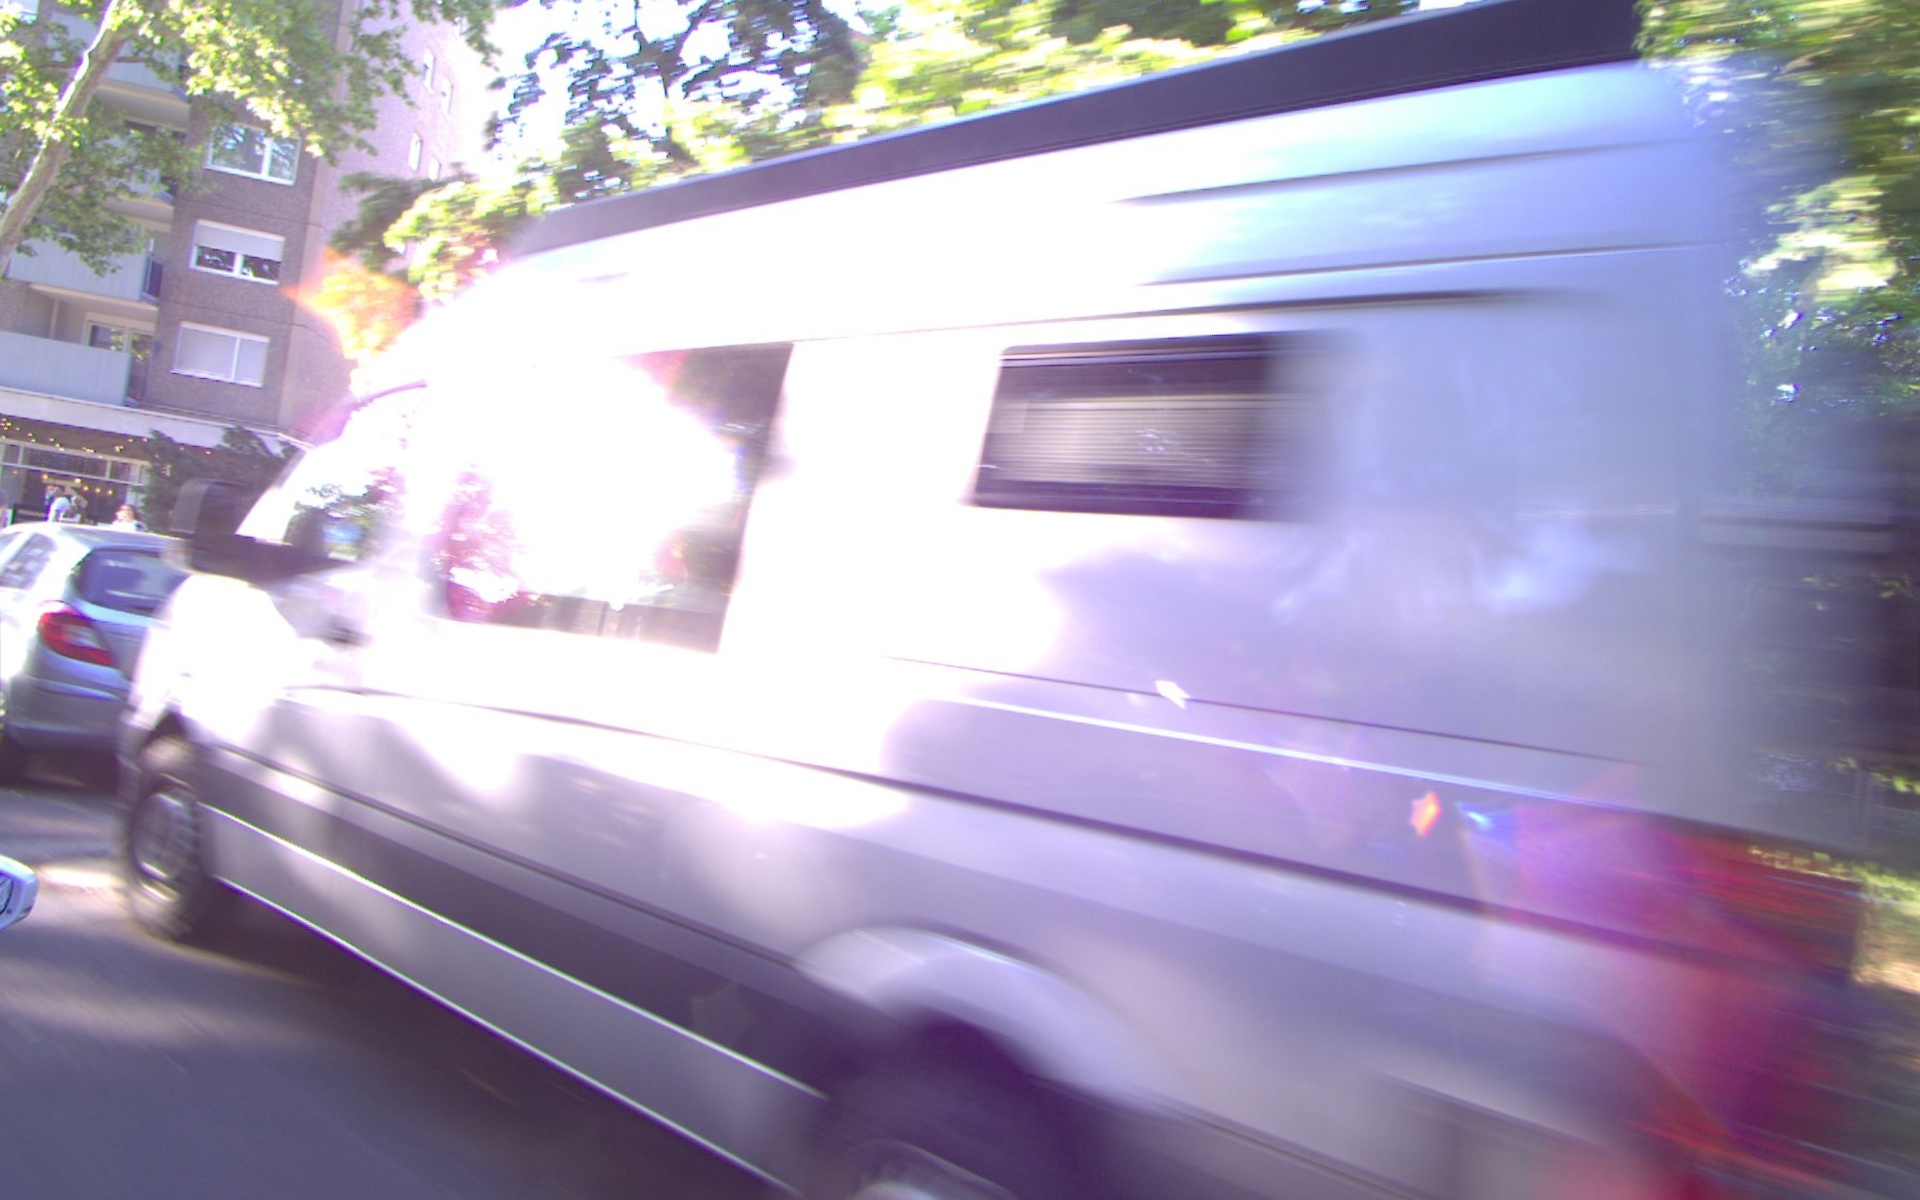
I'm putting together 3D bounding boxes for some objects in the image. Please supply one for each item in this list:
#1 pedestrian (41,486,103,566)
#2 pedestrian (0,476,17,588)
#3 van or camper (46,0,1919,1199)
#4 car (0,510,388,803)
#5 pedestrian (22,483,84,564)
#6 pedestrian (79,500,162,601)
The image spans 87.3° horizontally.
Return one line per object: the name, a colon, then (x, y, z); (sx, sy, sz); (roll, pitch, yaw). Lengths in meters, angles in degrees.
pedestrian: (-20.680, -1.706, 23.439); (0.633, 1.712, 0.685); (8, -1, -7)
pedestrian: (-16.012, -1.167, 16.275); (0.705, 1.802, 0.812); (7, -1, 36)
van or camper: (-0.599, 0.103, 3.294); (5.753, 2.794, 2.087); (7, -2, 35)
car: (-5.829, 0.253, 6.892); (3.811, 1.461, 1.684); (7, -4, 35)
pedestrian: (-21.606, -1.809, 23.972); (0.625, 1.794, 0.685); (8, -1, -7)
pedestrian: (-14.721, -0.865, 17.651); (0.705, 1.626, 0.812); (7, -1, 36)
